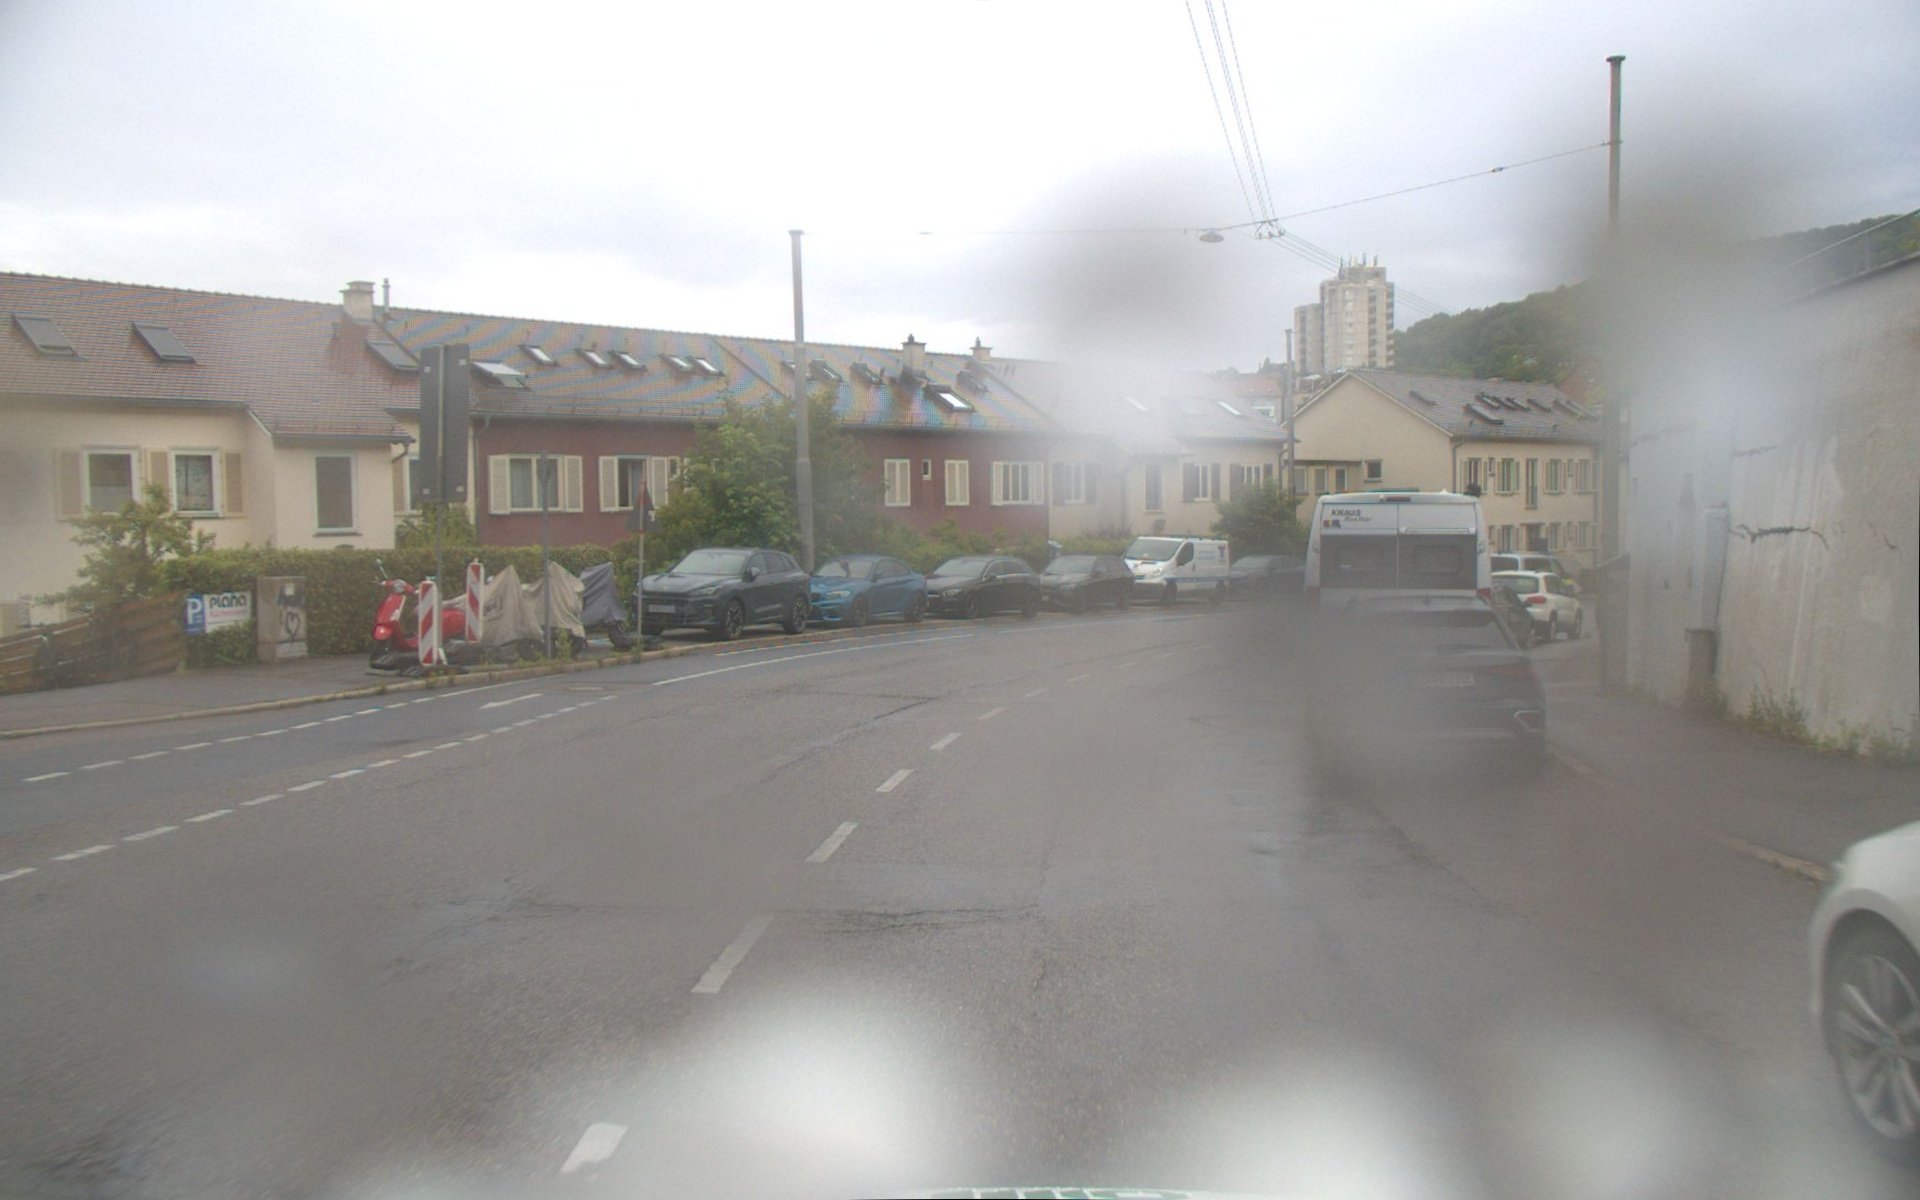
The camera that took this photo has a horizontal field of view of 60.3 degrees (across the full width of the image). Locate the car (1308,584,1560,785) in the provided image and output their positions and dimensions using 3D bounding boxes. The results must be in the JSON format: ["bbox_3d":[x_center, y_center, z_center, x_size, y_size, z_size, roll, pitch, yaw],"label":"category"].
[{"bbox_3d":[4.091,0.638,14.863,1.716,1.522,4.188,-1,1,10],"label":"car"}]

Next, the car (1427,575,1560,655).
[{"bbox_3d":[11.127,0.265,34.326,1.648,1.509,4.191,2,2,31],"label":"car"}]

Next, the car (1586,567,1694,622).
[{"bbox_3d":[19.850,-0.202,48.230,1.617,1.461,4.149,3,3,42],"label":"car"}]

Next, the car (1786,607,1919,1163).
[{"bbox_3d":[3.305,0.714,2.916,1.670,1.439,4.041,-1,0,0],"label":"car"}]

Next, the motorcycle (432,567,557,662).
[{"bbox_3d":[-6.725,0.191,23.874,1.764,1.301,0.511,1,2,19],"label":"motorcycle"}]

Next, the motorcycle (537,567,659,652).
[{"bbox_3d":[-5.757,0.151,26.352,1.867,1.293,0.574,1,2,-13],"label":"motorcycle"}]

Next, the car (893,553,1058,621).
[{"bbox_3d":[0.436,-0.339,39.854,1.777,1.502,4.508,3,2,34],"label":"car"}]

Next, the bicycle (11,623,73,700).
[{"bbox_3d":[-13.242,0.895,23.843,1.302,1.053,0.304,-5,-5,38],"label":"bicycle"}]

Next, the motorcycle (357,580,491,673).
[{"bbox_3d":[-7.175,0.335,22.238,0.499,1.159,1.921,-1,1,25],"label":"motorcycle"}]

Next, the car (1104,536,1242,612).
[{"bbox_3d":[6.434,-0.800,49.555,1.818,2.115,4.999,3,2,37],"label":"car"}]

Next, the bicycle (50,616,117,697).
[{"bbox_3d":[-12.177,0.787,22.962,1.278,1.053,0.304,-5,-4,36],"label":"bicycle"}]

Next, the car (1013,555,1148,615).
[{"bbox_3d":[3.311,-0.436,44.650,1.775,1.502,4.512,3,2,31],"label":"car"}]

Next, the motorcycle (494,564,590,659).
[{"bbox_3d":[-6.286,0.151,24.820,0.608,1.326,1.780,0,3,-42],"label":"motorcycle"}]

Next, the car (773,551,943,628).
[{"bbox_3d":[-2.074,-0.280,35.028,1.665,1.429,4.471,3,3,25],"label":"car"}]

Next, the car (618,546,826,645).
[{"bbox_3d":[-4.248,-0.142,30.264,1.882,1.604,4.389,3,3,20],"label":"car"}]

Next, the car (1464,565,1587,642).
[{"bbox_3d":[13.380,0.031,38.995,1.771,1.677,4.199,2,2,33],"label":"car"}]

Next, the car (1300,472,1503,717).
[{"bbox_3d":[5.393,-0.053,20.420,2.054,2.587,5.624,-1,0,14],"label":"car"}]

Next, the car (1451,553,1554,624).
[{"bbox_3d":[16.389,-0.397,49.818,2.264,1.973,4.320,2,3,27],"label":"car"}]

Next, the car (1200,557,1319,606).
[{"bbox_3d":[9.850,-0.626,54.132,1.782,1.502,4.496,3,3,41],"label":"car"}]
